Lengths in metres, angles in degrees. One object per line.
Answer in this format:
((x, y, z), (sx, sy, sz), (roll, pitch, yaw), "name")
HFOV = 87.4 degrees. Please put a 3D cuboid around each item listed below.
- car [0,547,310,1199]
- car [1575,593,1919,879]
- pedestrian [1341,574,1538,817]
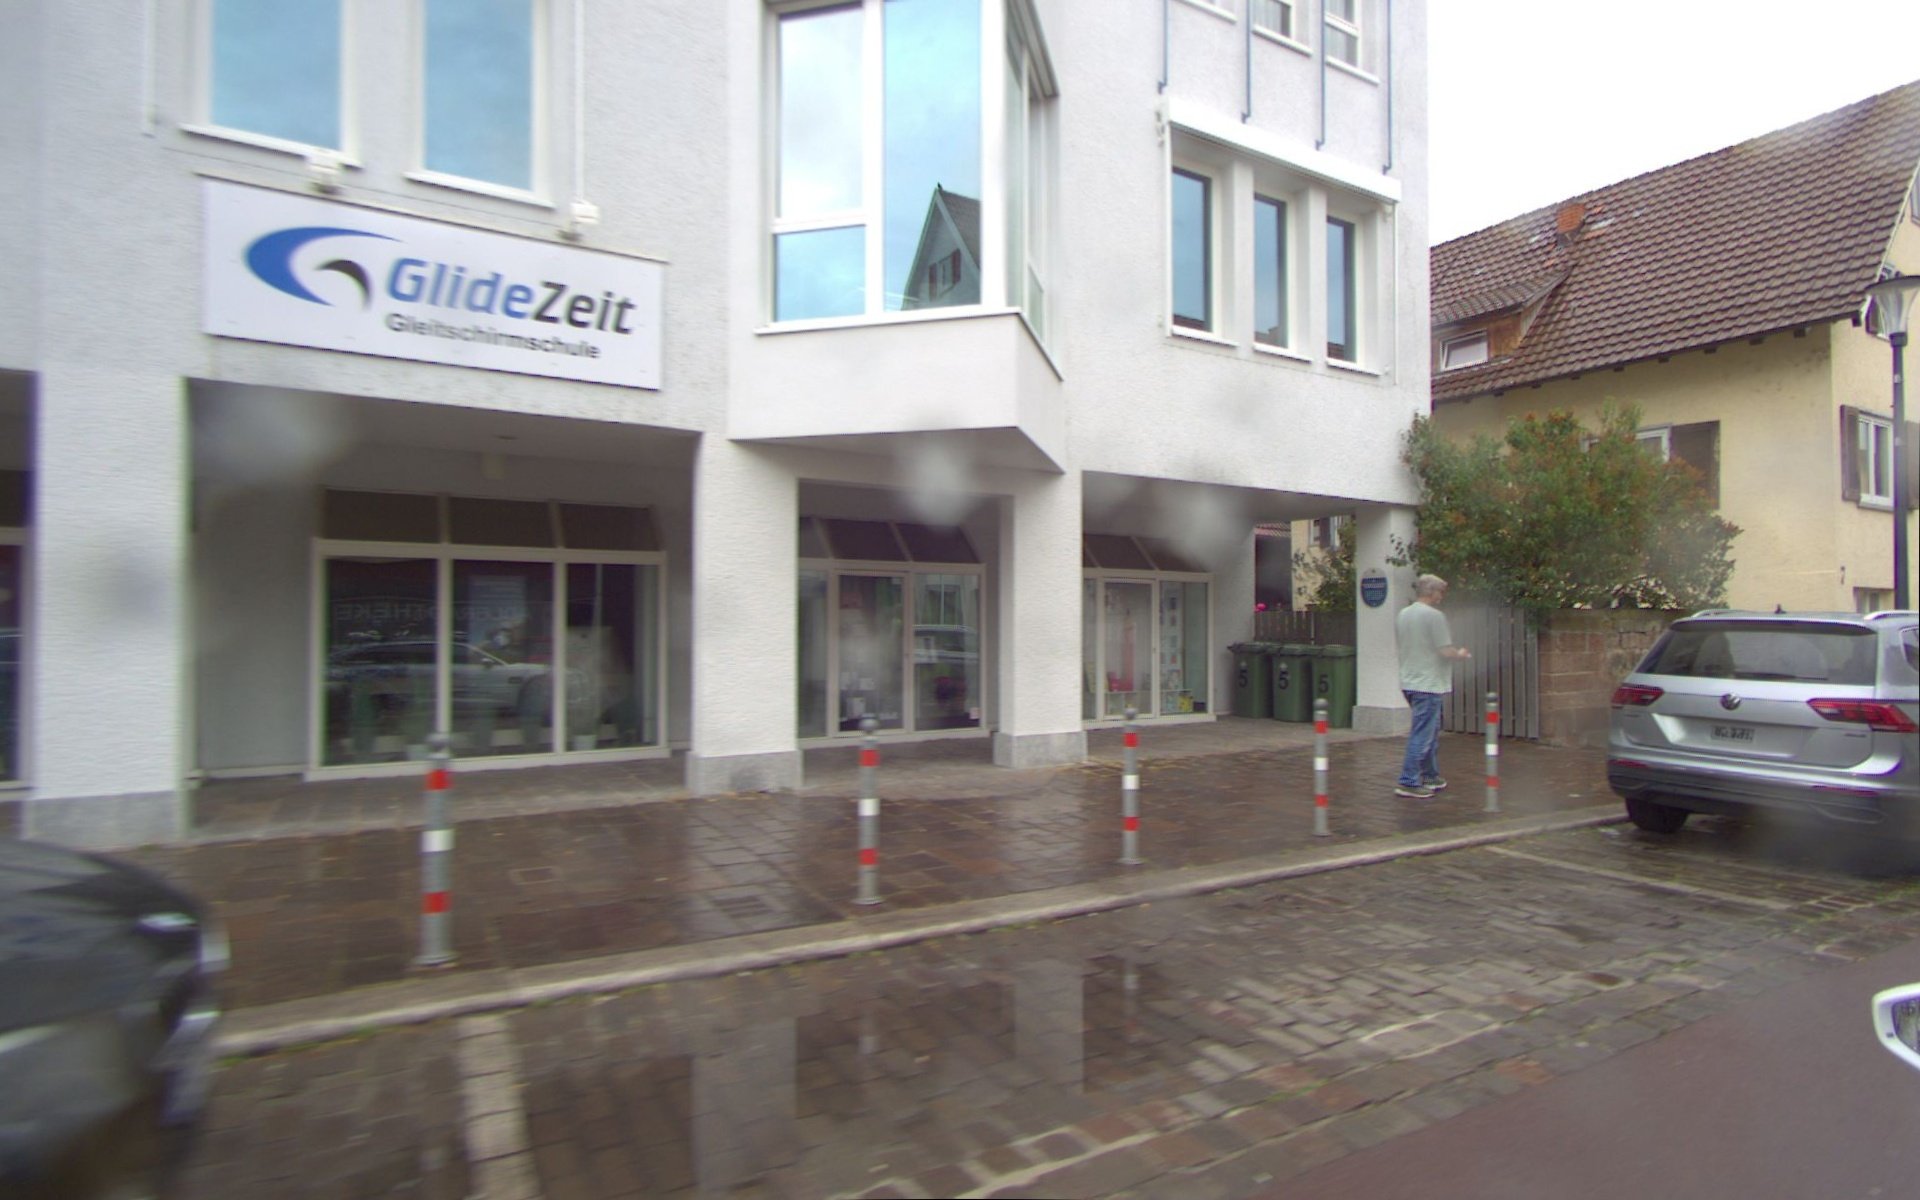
((-3.611, 0.682, 1.109), (4.706, 1.518, 1.823), (1, -3, -30), "car")
((6.645, 0.872, 7.526), (4.361, 1.589, 1.770), (3, -3, -33), "car")
((3.945, 0.733, 8.295), (1.103, 1.830, 1.030), (1, -1, -30), "pedestrian")
